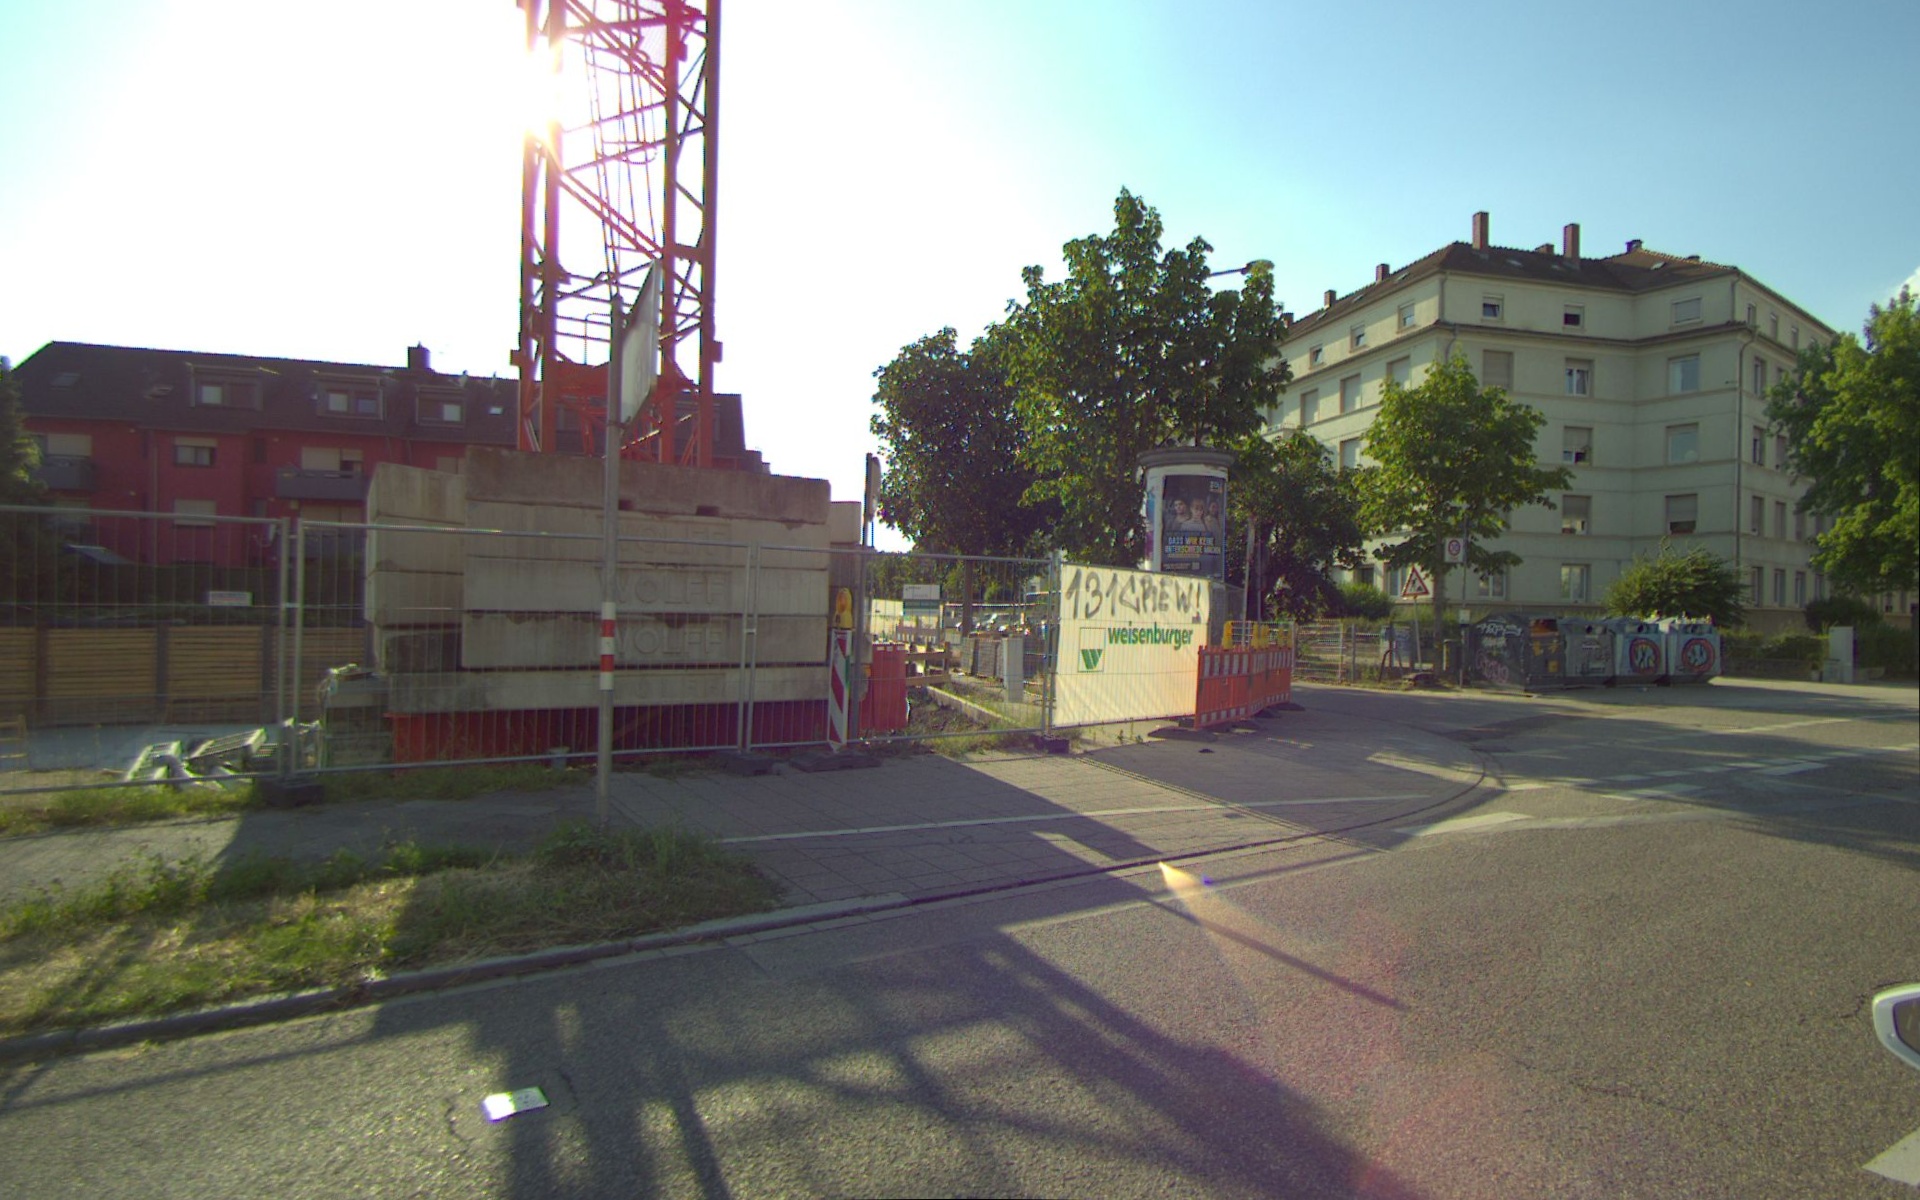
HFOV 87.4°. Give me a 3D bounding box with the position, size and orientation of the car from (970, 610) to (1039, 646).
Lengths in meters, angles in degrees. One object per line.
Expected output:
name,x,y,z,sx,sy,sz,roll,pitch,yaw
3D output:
car,2.885,1.820,65.215,3.938,2.040,1.992,3,1,-18

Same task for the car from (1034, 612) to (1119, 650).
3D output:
car,6.069,1.617,52.640,3.933,1.684,1.994,3,1,-15
